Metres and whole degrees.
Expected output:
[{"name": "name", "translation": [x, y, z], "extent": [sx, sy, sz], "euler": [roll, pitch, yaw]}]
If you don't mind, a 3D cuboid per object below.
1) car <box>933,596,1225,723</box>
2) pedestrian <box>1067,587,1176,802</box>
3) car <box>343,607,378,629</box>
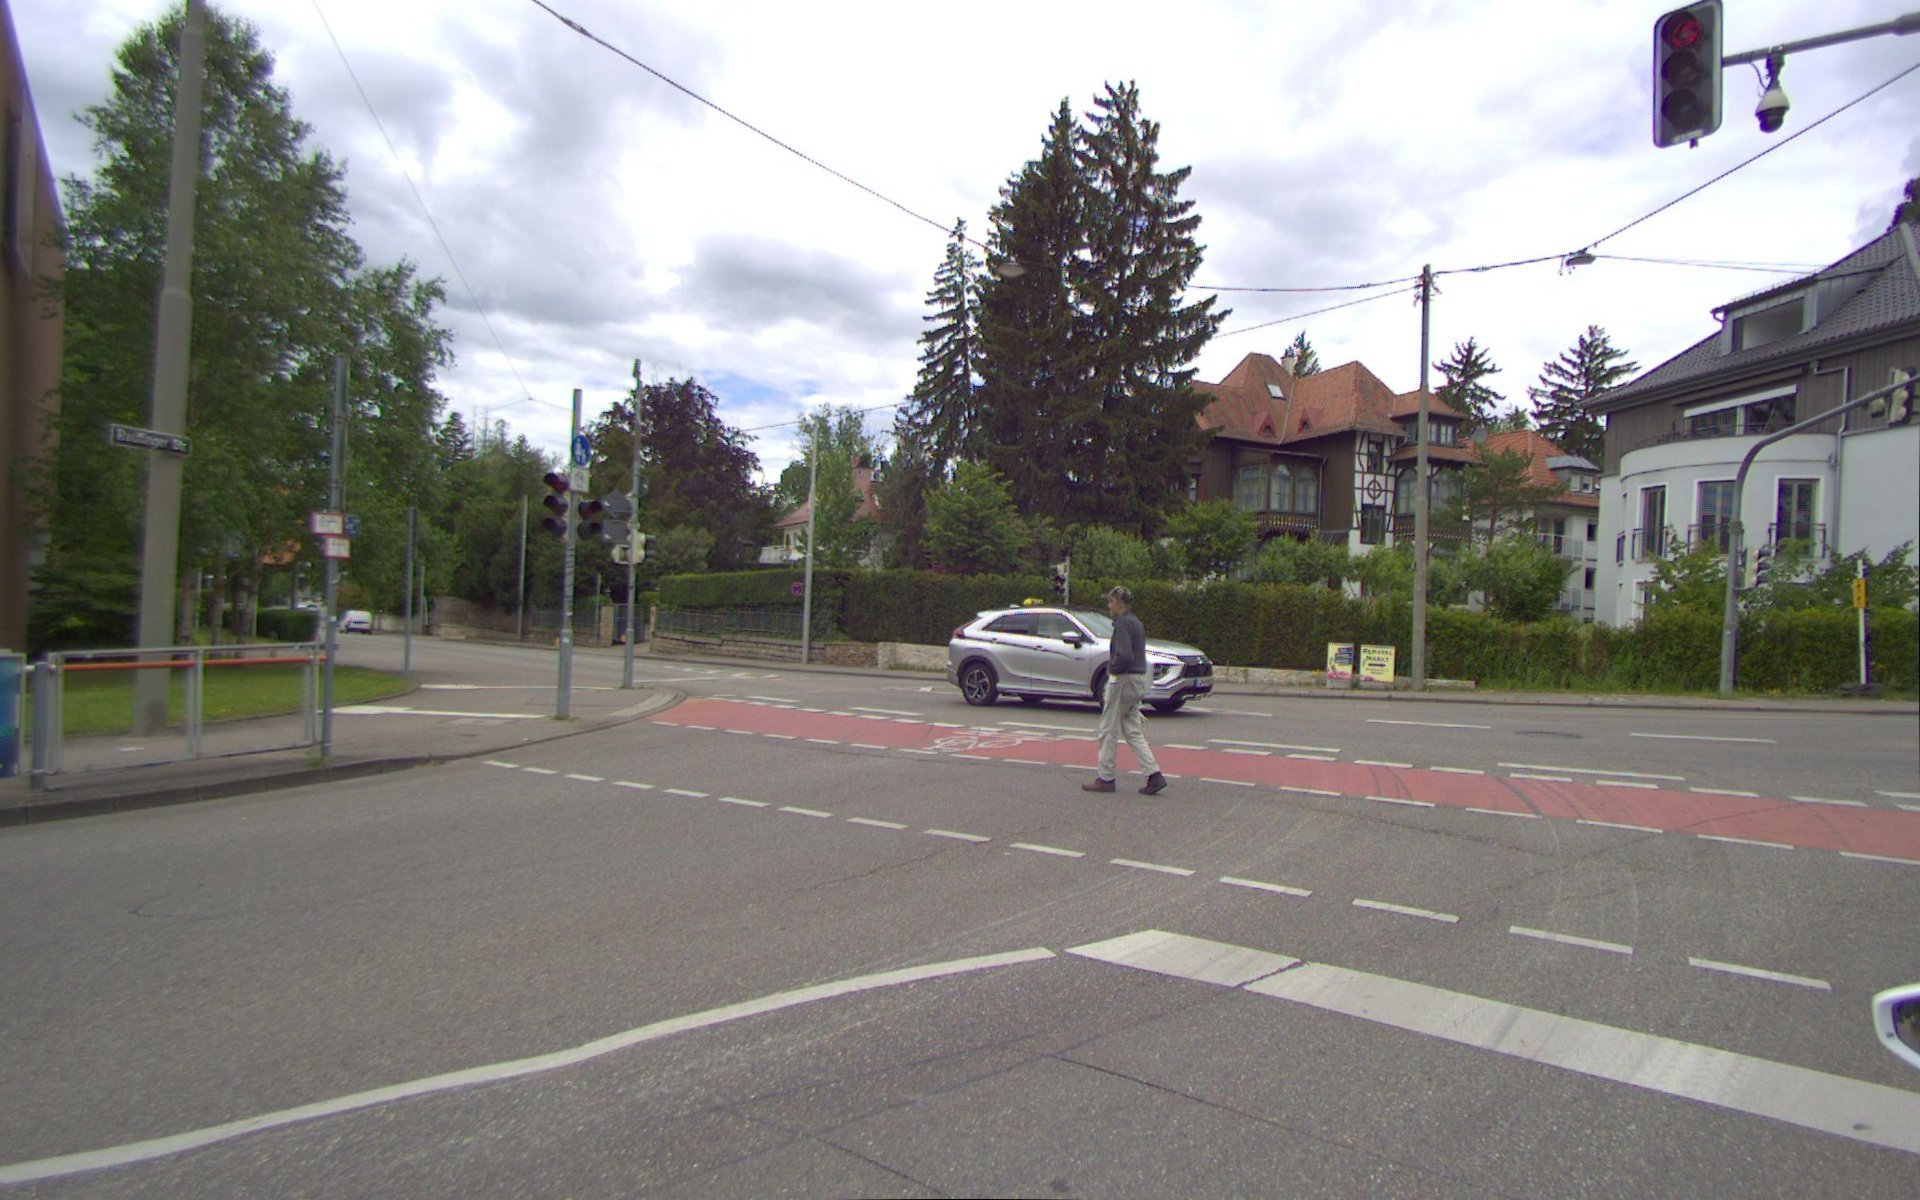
[{"name": "car", "translation": [1.822, 0.868, 16.209], "extent": [4.419, 1.776, 1.805], "euler": [0, -2, 40]}, {"name": "pedestrian", "translation": [1.321, 0.733, 8.173], "extent": [0.726, 1.655, 0.683], "euler": [-1, -1, 22]}, {"name": "car", "translation": [-47.847, 1.448, 80.163], "extent": [1.798, 1.734, 3.990], "euler": [2, -2, -39]}]
